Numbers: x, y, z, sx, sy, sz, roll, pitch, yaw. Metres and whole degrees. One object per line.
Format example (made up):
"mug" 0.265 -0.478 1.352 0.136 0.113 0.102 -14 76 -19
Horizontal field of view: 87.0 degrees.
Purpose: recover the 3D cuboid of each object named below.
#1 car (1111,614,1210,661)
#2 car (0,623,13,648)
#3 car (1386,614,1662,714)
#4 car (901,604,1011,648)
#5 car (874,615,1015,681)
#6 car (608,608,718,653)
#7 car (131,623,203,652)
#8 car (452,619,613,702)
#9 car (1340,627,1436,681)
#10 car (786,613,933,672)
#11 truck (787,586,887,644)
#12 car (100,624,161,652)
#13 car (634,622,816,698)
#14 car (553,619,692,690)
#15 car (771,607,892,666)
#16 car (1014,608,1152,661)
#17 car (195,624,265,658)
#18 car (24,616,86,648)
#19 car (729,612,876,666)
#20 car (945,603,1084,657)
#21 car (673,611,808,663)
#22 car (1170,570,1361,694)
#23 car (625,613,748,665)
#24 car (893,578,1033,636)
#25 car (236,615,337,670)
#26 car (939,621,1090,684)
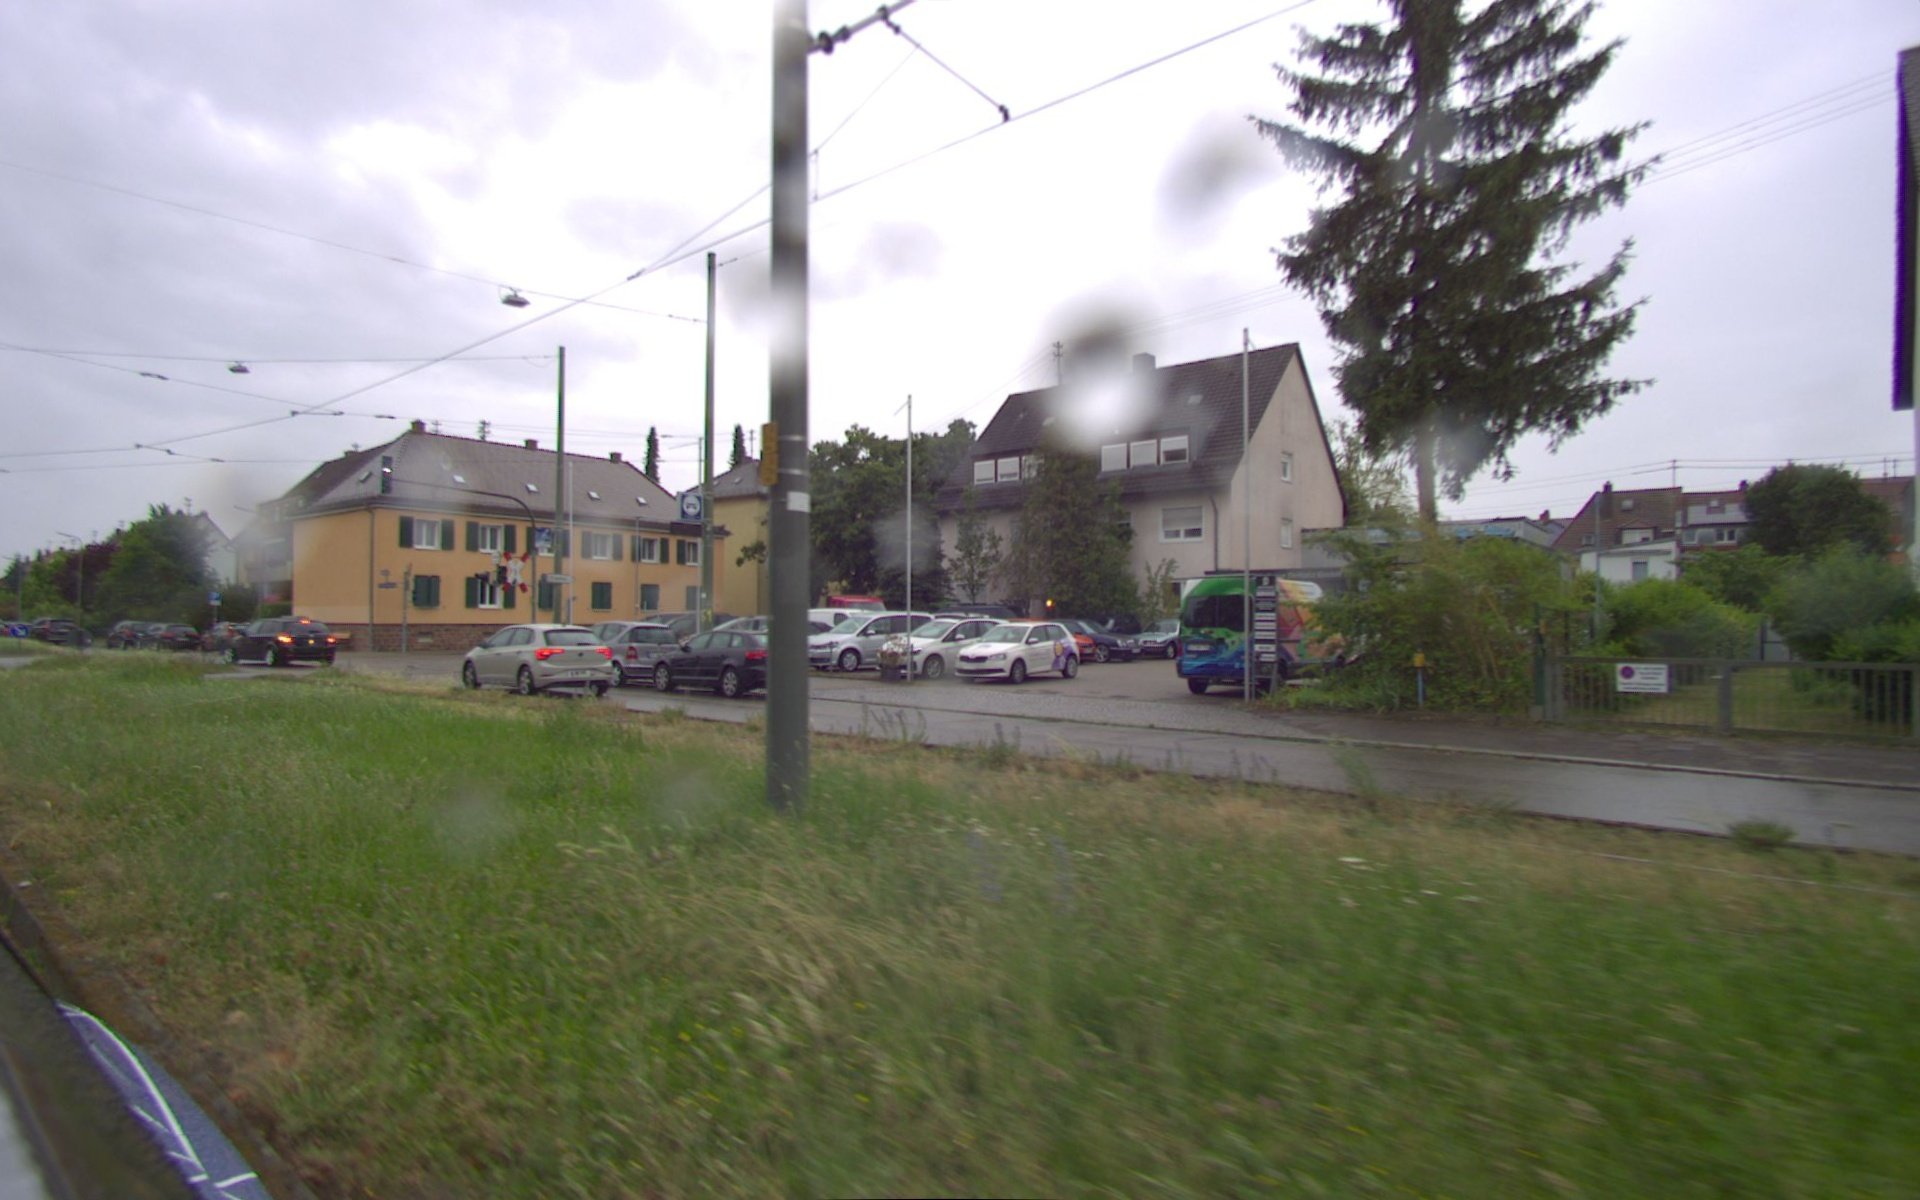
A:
"car" 7.326 1.311 36.755 1.998 1.577 3.844 1 -1 39
"car" -59.170 2.141 61.434 3.996 1.487 1.973 -1 -2 40
"car" 9.927 1.155 17.956 3.892 1.577 1.973 -5 -4 40
"car" -0.216 1.101 41.900 4.447 1.700 1.971 -2 -3 43
"car" -0.374 1.236 26.994 1.724 1.585 3.564 1 0 44
"car" -10.892 1.129 37.184 3.806 1.591 1.813 0 -2 -17
"car" -40.694 1.896 51.886 4.500 1.407 1.941 -1 -2 39
"car" -8.909 1.181 20.964 3.819 1.434 1.584 2 0 42
"car" 13.448 1.625 31.679 1.785 1.509 3.949 2 0 38
"car" -2.849 1.200 28.916 3.809 1.591 1.811 1 -3 -38
"truck" -5.304 0.696 42.822 1.966 2.289 6.121 2 -3 -29
"car" -45.339 2.056 55.319 3.995 1.342 1.737 2 0 38
"car" -5.209 1.237 22.102 4.389 1.349 1.698 2 0 43
"car" -8.405 1.287 25.085 3.644 1.515 1.698 2 0 43
"car" -4.712 1.315 36.692 4.447 2.029 1.971 -2 -3 43
"car" 4.209 1.203 34.963 4.447 1.700 1.971 -2 -3 43
"car" -33.597 1.846 46.553 3.613 1.349 1.701 2 0 39
"car" -56.888 1.966 63.596 3.990 1.807 1.977 2 0 34
"car" -4.774 1.179 30.773 3.989 1.515 1.839 2 0 -32
"car" 1.771 1.021 33.915 4.447 1.700 1.971 -2 -3 43
"car" -7.142 1.200 32.872 3.988 1.515 1.840 2 0 -21
"car" 6.869 0.662 22.366 2.151 2.424 5.079 2 0 40
"car" -9.359 1.332 34.656 3.932 1.730 2.006 1 -2 -17
"car" 0.031 0.284 32.096 4.447 1.700 1.735 -2 -3 43
"car" -21.271 1.296 31.908 4.000 1.497 1.718 2 0 43
"car" 1.434 1.277 25.492 1.723 1.406 3.786 2 0 44
